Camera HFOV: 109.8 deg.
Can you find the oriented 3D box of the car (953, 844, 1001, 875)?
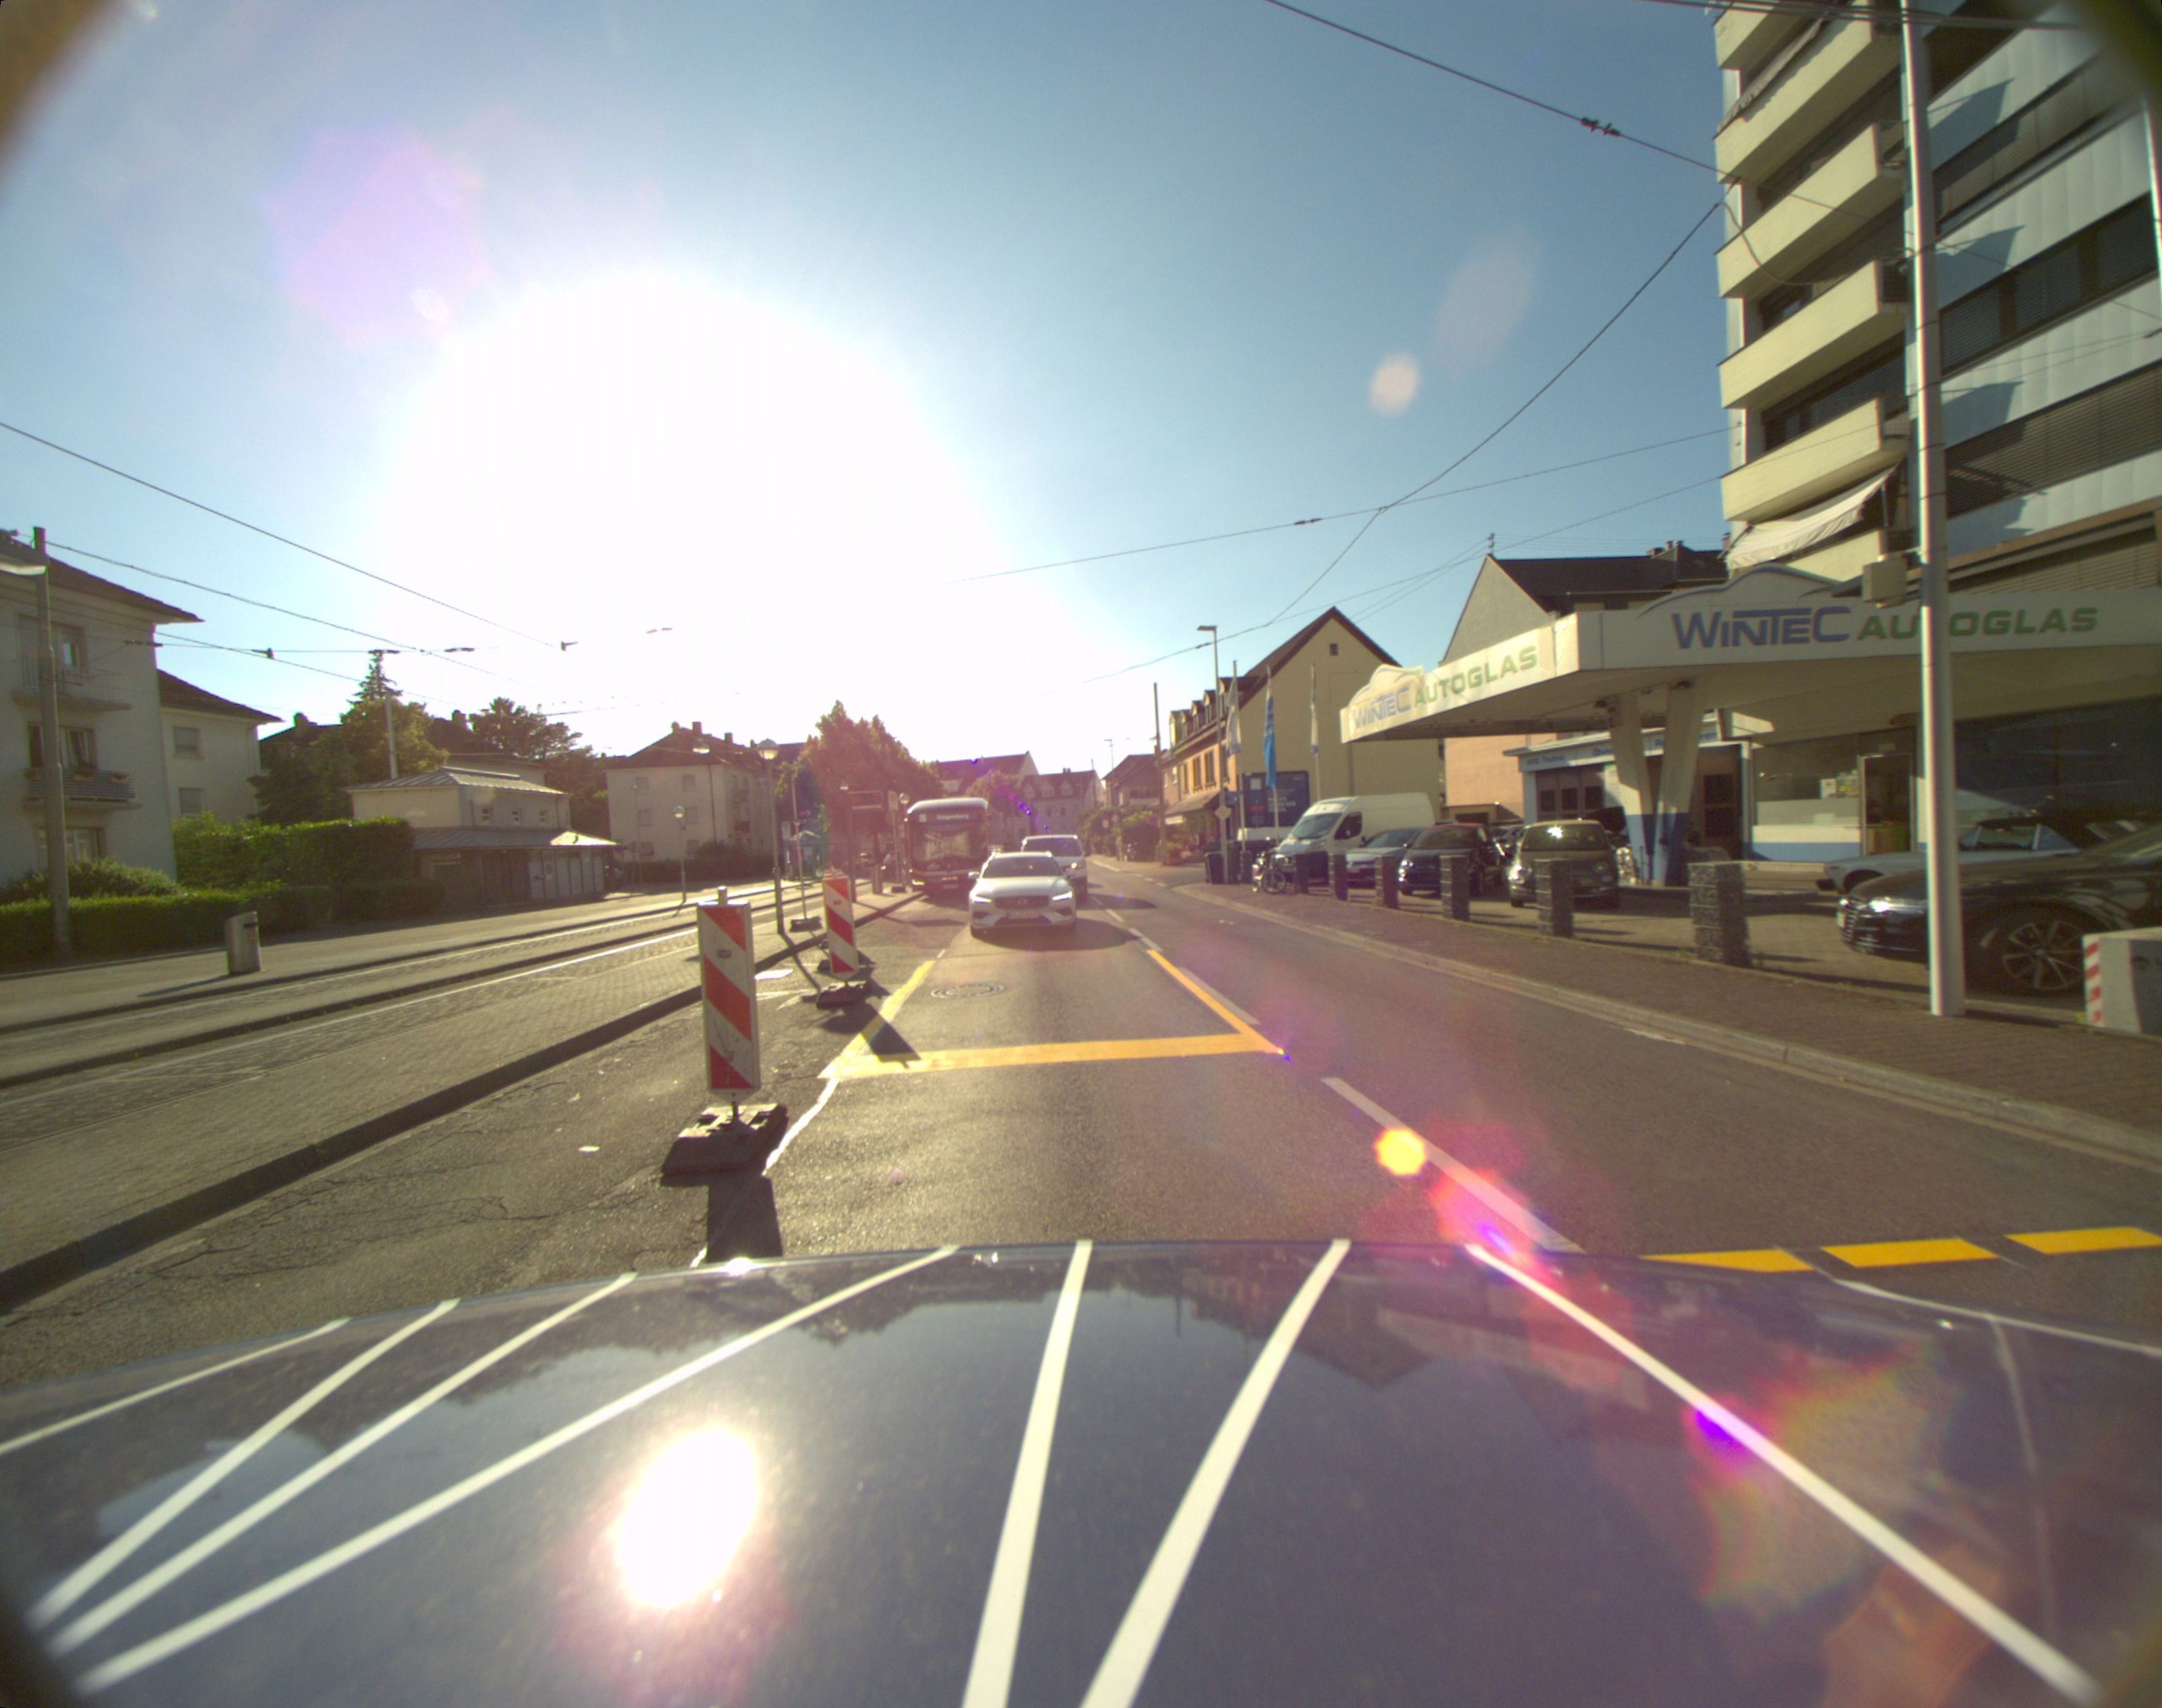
[{"bbox_3d":[-5.339,0.222,39.652,1.970,1.451,4.822,-2,1,-2],"label":"car"}]

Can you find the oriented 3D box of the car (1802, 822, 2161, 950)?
[{"bbox_3d":[11.578,0.291,9.321,1.525,1.291,3.902,-2,1,-7],"label":"car"}]

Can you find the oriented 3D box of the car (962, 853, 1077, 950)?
[{"bbox_3d":[-1.095,0.773,14.545,1.821,1.446,4.215,-2,1,-2],"label":"car"}]

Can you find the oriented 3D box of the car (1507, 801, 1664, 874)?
[{"bbox_3d":[15.261,-0.509,23.284,1.742,1.933,4.256,-3,1,-4],"label":"car"}]

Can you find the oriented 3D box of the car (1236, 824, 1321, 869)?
[{"bbox_3d":[9.560,-0.380,36.912,3.673,2.002,1.450,-2,2,-6],"label":"car"}]

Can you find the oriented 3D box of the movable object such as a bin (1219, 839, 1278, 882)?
[{"bbox_3d":[6.107,0.208,27.702,1.798,1.456,1.046,-3,2,-28],"label":"movable object such as a bin"}]

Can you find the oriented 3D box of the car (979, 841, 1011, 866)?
[{"bbox_3d":[-6.336,-0.049,56.396,1.970,1.695,4.822,-2,1,-2],"label":"car"}]

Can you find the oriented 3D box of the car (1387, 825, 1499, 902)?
[{"bbox_3d":[8.199,0.156,17.058,1.590,1.488,3.441,-2,2,37],"label":"car"}]

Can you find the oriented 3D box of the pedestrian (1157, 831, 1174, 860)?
[{"bbox_3d":[5.131,-0.527,46.357,0.810,1.704,0.859,-2,2,-6],"label":"pedestrian"}]

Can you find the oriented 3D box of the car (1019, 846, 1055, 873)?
[{"bbox_3d":[-2.579,0.292,45.395,1.970,1.451,4.822,-2,1,-2],"label":"car"}]

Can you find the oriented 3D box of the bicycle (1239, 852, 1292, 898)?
[{"bbox_3d":[4.831,0.531,20.023,0.725,1.080,1.790,-3,1,-6],"label":"bicycle"}]

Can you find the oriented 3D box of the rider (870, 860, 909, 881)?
[{"bbox_3d":[-10.093,0.875,40.059,1.855,0.986,0.580,-2,2,9],"label":"rider"}]

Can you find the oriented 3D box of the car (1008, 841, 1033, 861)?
[{"bbox_3d":[-5.526,-0.343,69.821,1.970,1.695,4.822,-2,1,-2],"label":"car"}]

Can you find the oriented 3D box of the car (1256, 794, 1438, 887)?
[{"bbox_3d":[7.947,-0.452,22.640,4.997,2.440,2.110,-4,2,-25],"label":"car"}]

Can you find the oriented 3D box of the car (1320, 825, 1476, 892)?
[{"bbox_3d":[8.439,0.069,20.121,4.036,1.488,1.739,-4,2,-31],"label":"car"}]

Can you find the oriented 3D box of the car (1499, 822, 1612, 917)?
[{"bbox_3d":[8.797,0.213,13.965,1.538,1.478,3.379,-2,2,35],"label":"car"}]

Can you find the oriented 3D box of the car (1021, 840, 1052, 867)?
[{"bbox_3d":[-3.027,-0.082,52.079,1.970,1.695,4.822,-2,1,-2],"label":"car"}]

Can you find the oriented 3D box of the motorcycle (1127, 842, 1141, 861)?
[{"bbox_3d":[3.548,-0.204,50.787,0.708,1.210,2.185,-2,2,-1],"label":"motorcycle"}]

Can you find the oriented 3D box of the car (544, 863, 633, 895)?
[{"bbox_3d":[-30.331,1.525,46.890,4.053,1.664,1.999,-4,2,-1],"label":"car"}]

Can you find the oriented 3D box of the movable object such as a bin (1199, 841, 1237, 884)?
[{"bbox_3d":[4.807,0.285,26.664,1.046,1.456,0.797,-1,2,29],"label":"movable object such as a bin"}]

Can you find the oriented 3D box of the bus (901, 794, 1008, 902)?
[{"bbox_3d":[-4.558,-0.284,30.011,2.749,3.284,12.026,-2,1,-3],"label":"bus"}]

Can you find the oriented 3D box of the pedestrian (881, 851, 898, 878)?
[{"bbox_3d":[-10.098,0.556,40.039,0.657,1.373,0.580,-2,2,9],"label":"pedestrian"}]

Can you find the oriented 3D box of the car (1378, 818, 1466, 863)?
[{"bbox_3d":[16.810,-0.680,37.499,3.673,2.002,1.450,-2,2,-6],"label":"car"}]

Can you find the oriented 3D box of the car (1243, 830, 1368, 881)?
[{"bbox_3d":[7.602,0.024,25.616,4.036,1.469,1.739,-4,2,-31],"label":"car"}]

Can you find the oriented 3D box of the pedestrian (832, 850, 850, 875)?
[{"bbox_3d":[-15.846,0.542,50.224,0.826,1.602,0.840,-4,2,-38],"label":"pedestrian"}]

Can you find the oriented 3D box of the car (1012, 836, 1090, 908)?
[{"bbox_3d":[-0.894,0.434,22.395,1.970,1.816,5.031,-2,1,-2],"label":"car"}]

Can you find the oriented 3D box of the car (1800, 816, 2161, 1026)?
[{"bbox_3d":[8.561,0.425,5.528,4.675,1.430,1.936,-1,1,38],"label":"car"}]
